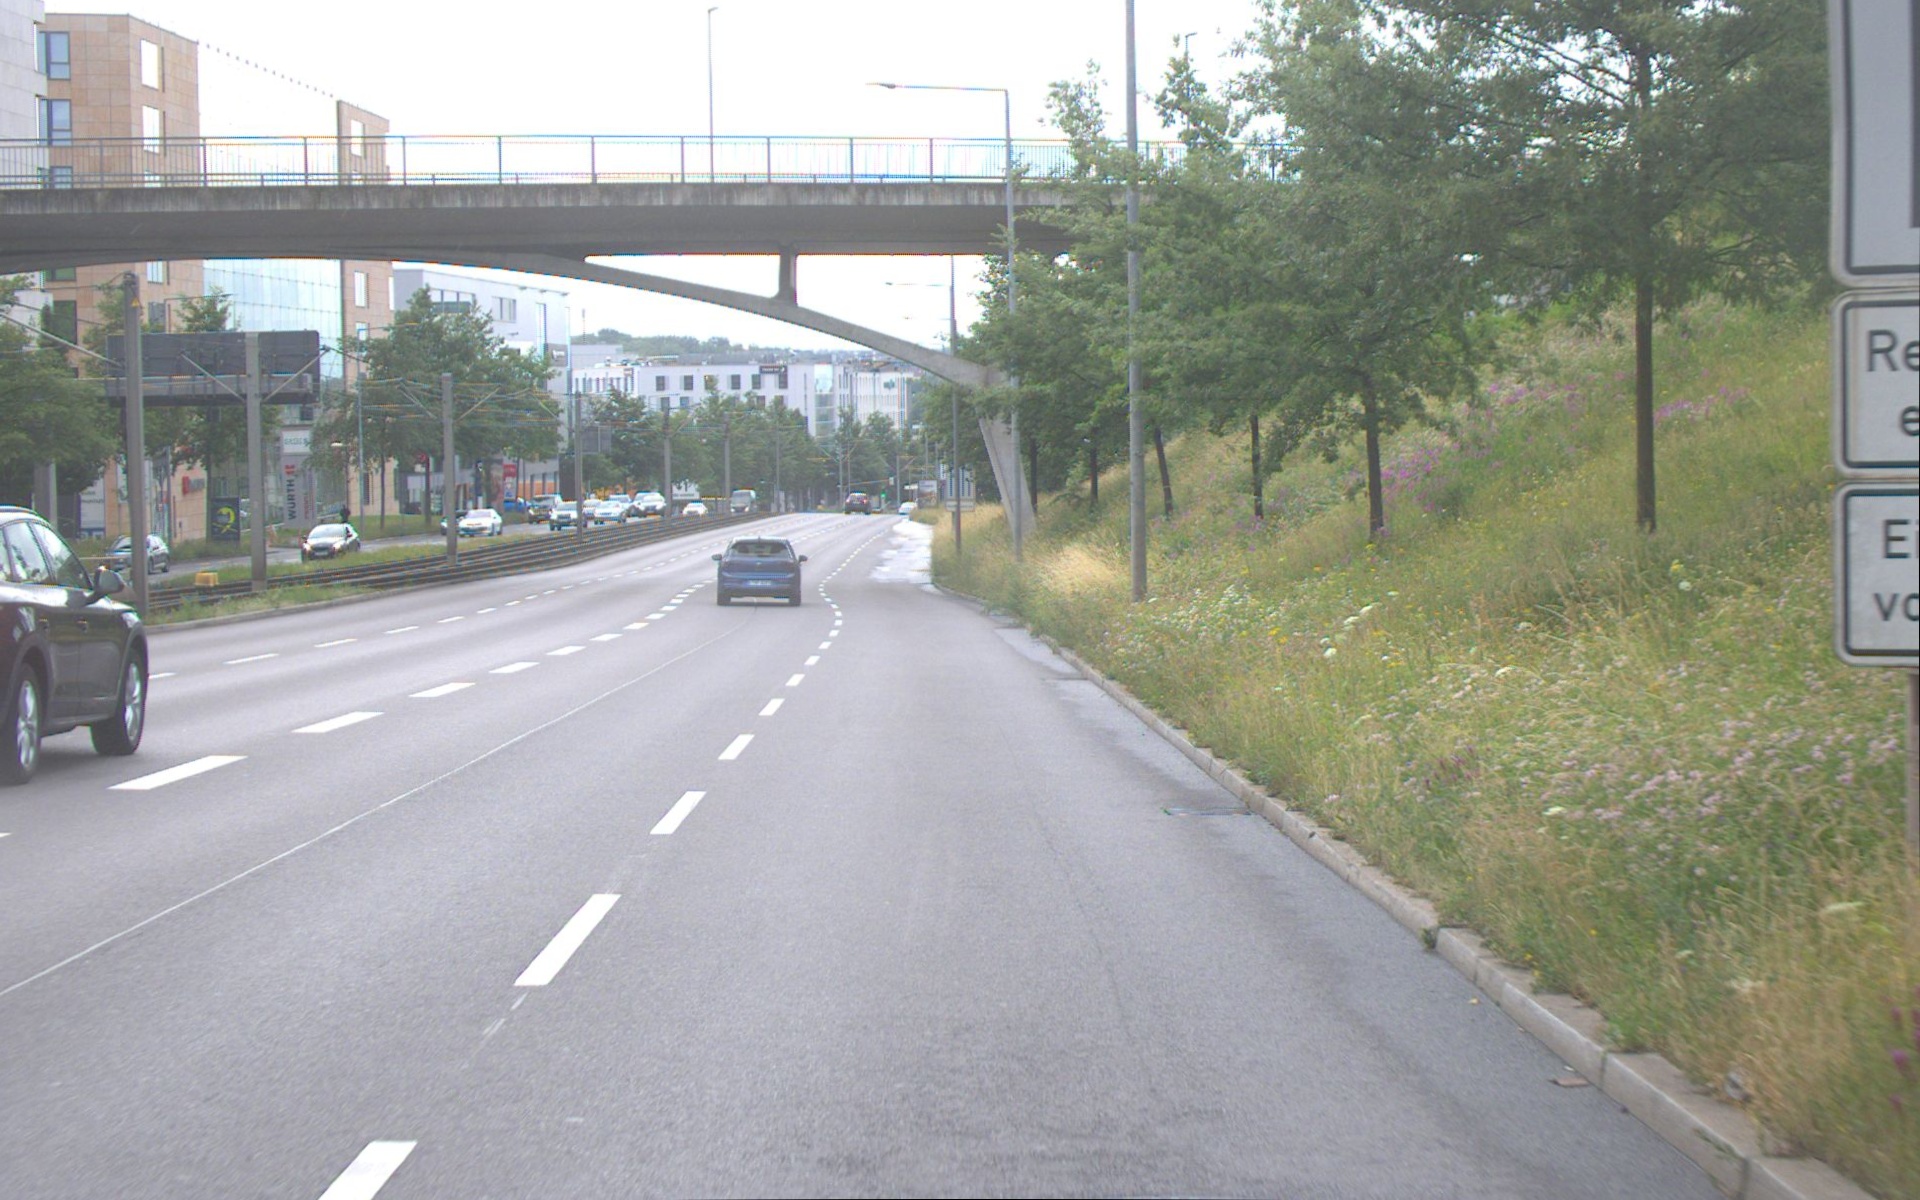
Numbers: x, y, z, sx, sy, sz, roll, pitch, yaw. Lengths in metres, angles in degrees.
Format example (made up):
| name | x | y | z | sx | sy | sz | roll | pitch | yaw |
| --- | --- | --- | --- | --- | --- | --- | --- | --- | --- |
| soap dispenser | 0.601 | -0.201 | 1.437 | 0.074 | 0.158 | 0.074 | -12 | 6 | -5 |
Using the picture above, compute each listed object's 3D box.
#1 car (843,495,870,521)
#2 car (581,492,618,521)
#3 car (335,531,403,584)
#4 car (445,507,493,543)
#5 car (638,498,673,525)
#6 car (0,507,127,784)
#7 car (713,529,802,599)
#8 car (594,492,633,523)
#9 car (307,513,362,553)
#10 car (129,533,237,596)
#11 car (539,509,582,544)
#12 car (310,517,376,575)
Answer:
| name | x | y | z | sx | sy | sz | roll | pitch | yaw |
| --- | --- | --- | --- | --- | --- | --- | --- | --- | --- |
| car | -7.783 | -6.932 | 258.502 | 1.862 | 1.743 | 4.002 | 1 | 4 | -4 |
| car | -24.615 | -6.393 | 234.828 | 1.993 | 1.729 | 4.249 | 1 | 4 | 0 |
| car | -21.829 | -1.590 | 127.002 | 1.993 | 1.700 | 4.001 | 1 | 4 | -3 |
| car | -27.015 | -4.138 | 189.150 | 1.993 | 1.729 | 4.249 | 1 | 4 | 0 |
| car | -21.416 | -6.225 | 241.726 | 1.993 | 1.729 | 4.249 | 1 | 4 | 0 |
| car | -6.566 | 0.242 | 21.667 | 1.751 | 1.612 | 4.749 | 0 | 1 | -3 |
| car | -4.286 | -0.778 | 73.068 | 1.748 | 1.415 | 3.479 | 0 | 2 | -1 |
| car | -22.096 | -5.913 | 219.035 | 1.993 | 1.729 | 4.249 | 1 | 4 | 0 |
| car | -31.512 | -3.378 | 173.289 | 1.993 | 2.007 | 4.000 | 0 | 1 | 1 |
| car | -17.726 | -0.826 | 78.543 | 1.748 | 1.415 | 3.478 | 0 | 1 | -1 |
| car | -22.993 | -4.235 | 197.924 | 1.993 | 2.007 | 4.000 | 0 | 1 | 1 |
| car | -24.164 | -2.134 | 134.741 | 1.993 | 2.006 | 4.001 | 1 | 4 | -2 |
